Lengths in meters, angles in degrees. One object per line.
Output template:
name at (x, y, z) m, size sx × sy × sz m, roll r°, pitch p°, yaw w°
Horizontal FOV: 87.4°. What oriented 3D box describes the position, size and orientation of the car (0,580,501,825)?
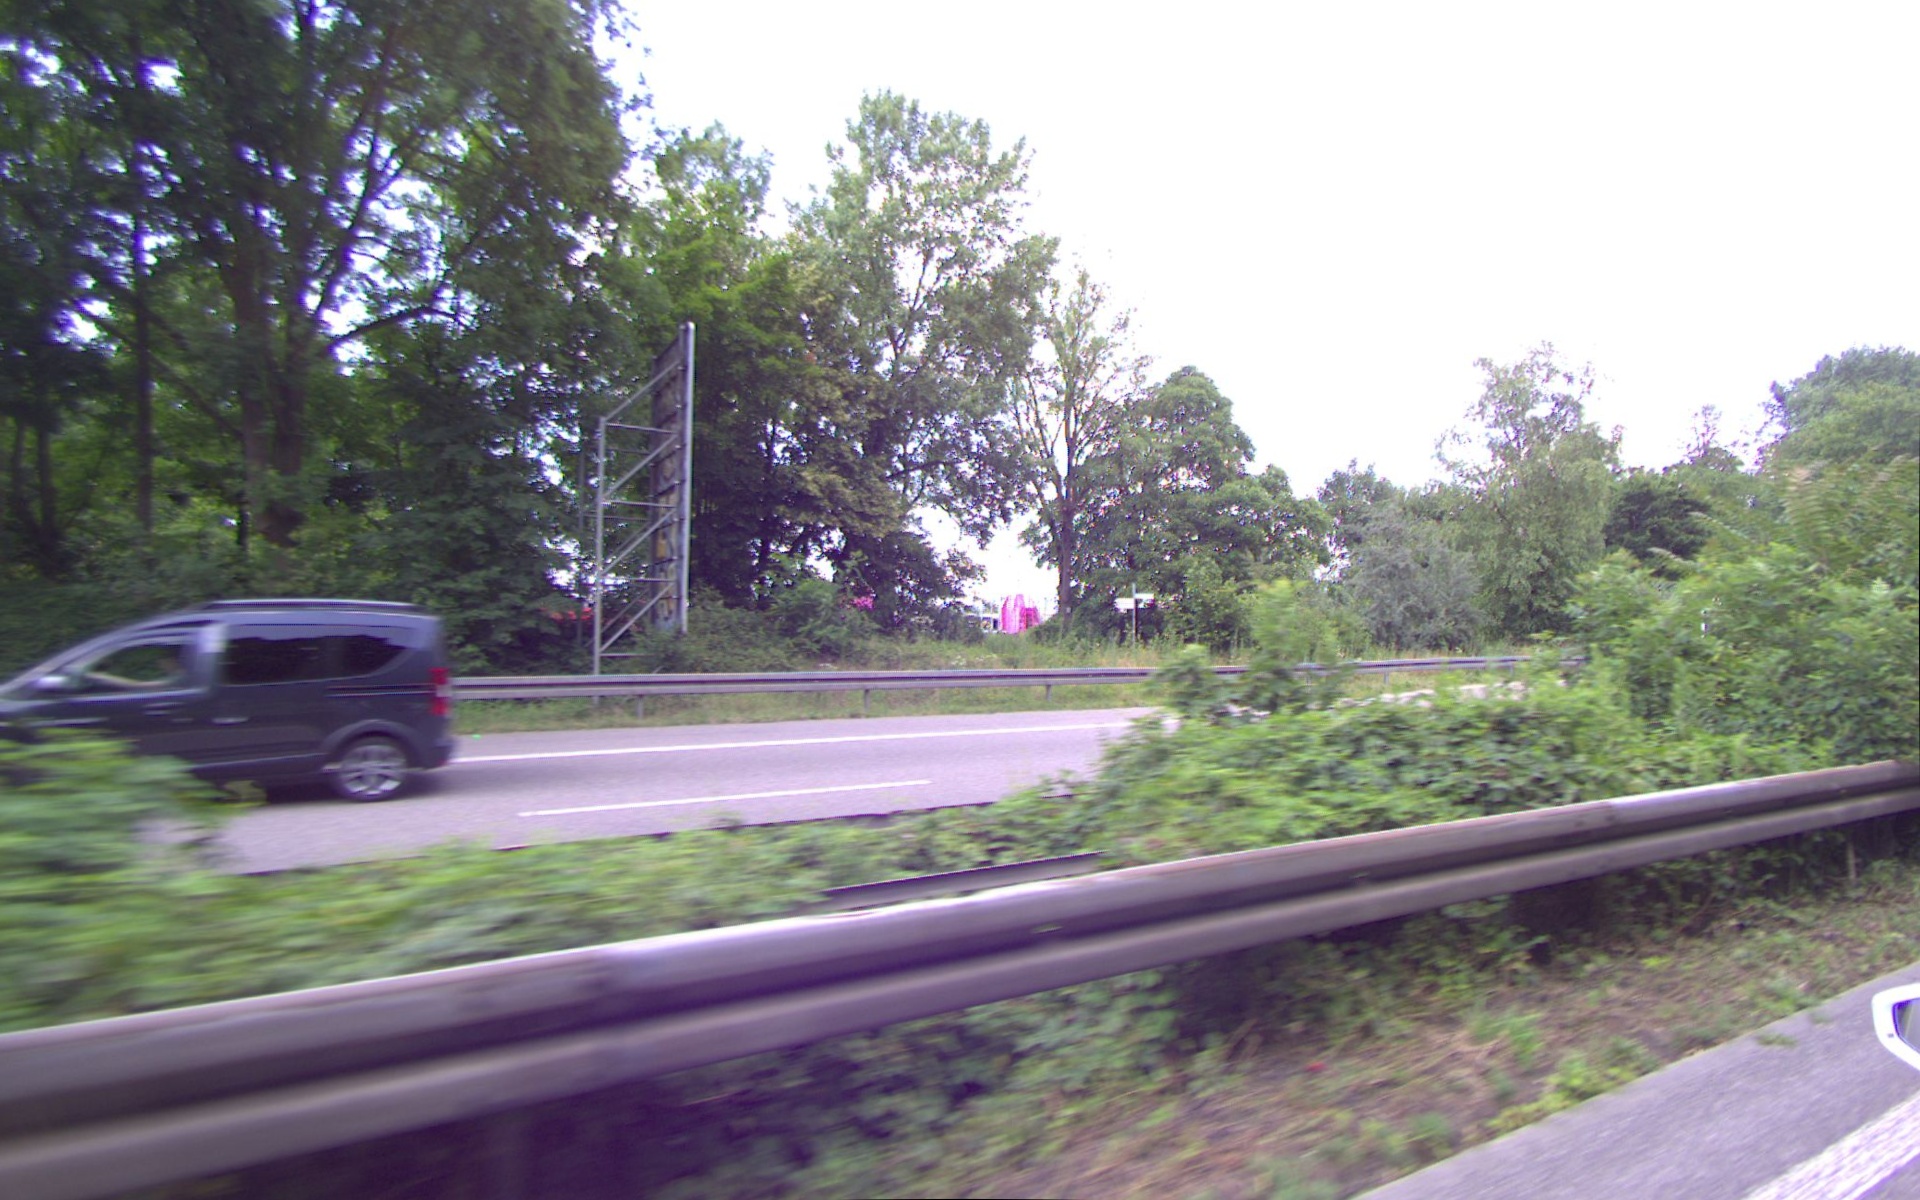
car at (-6.699, 0.843, 9.359) m, size 4.227 × 1.894 × 1.984 m, roll 1°, pitch -2°, yaw -30°
